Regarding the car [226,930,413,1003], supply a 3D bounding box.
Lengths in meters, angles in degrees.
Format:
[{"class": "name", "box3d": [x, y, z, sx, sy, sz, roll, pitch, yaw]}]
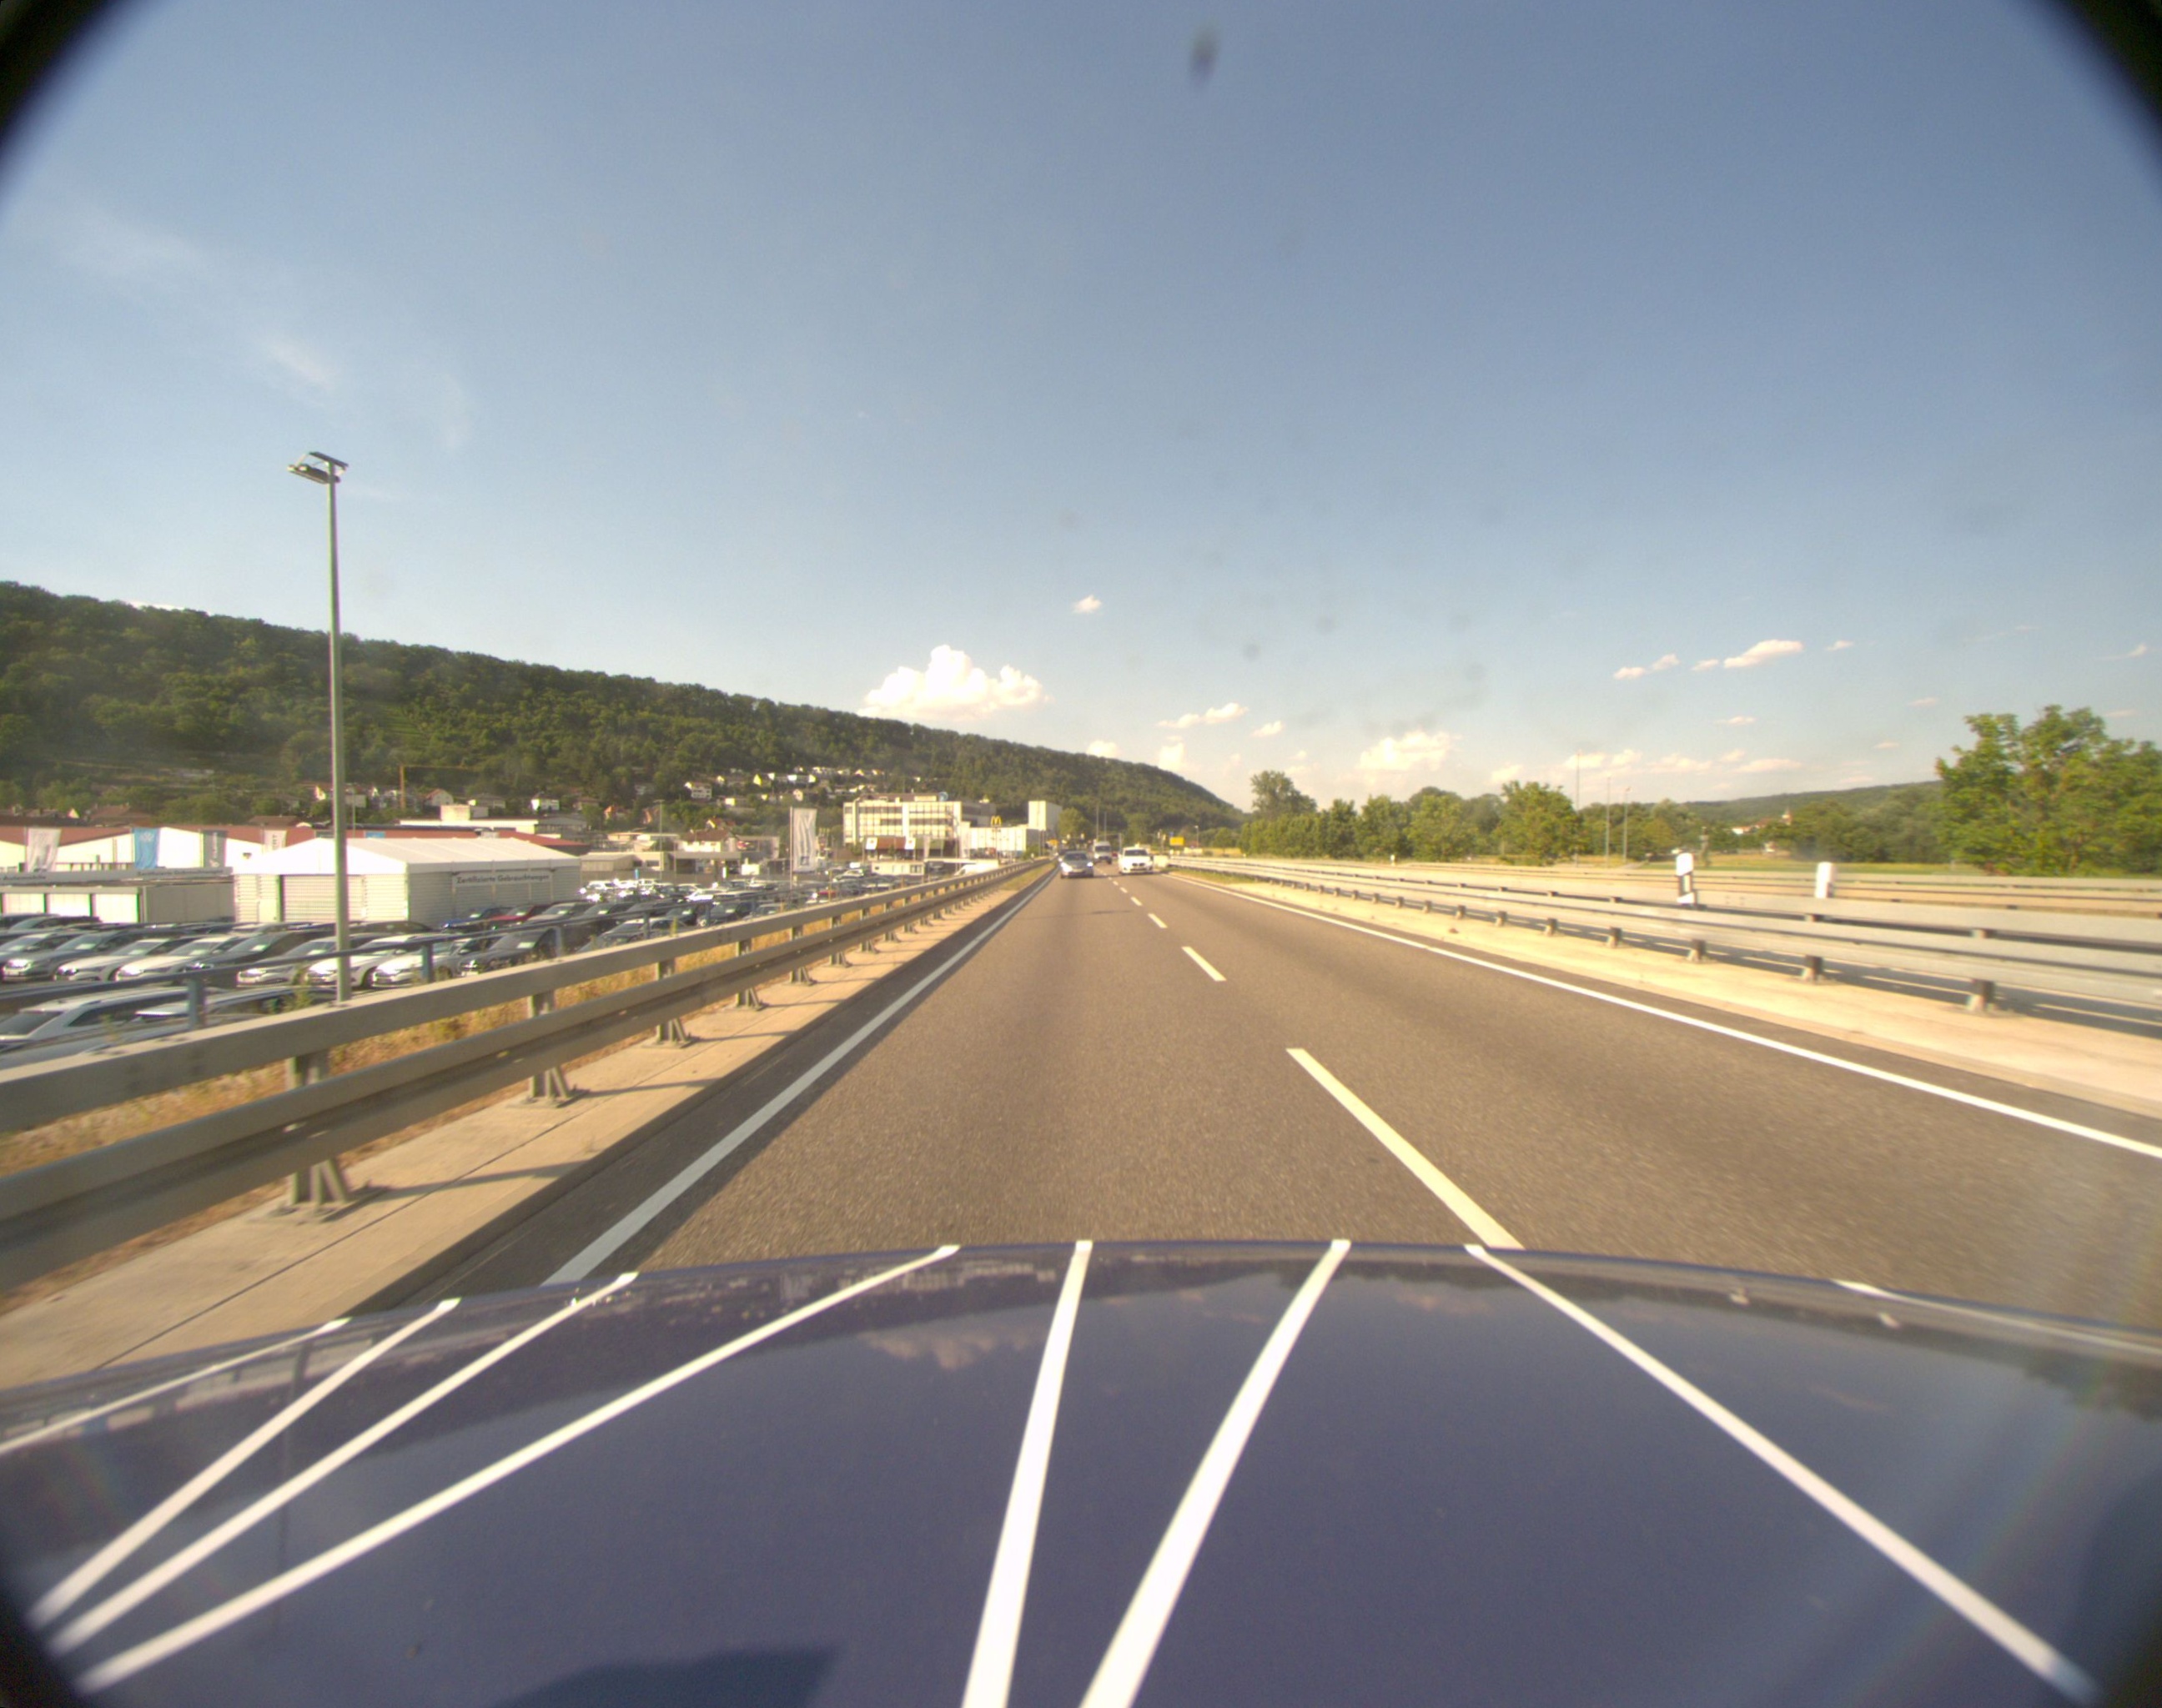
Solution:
[{"class": "car", "box3d": [-24.630, 3.596, 24.806, 1.778, 1.674, 4.001, -2, 1, 7]}]

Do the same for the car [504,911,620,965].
[{"class": "car", "box3d": [-21.817, 3.491, 32.166, 1.778, 1.674, 4.001, -2, 1, 7]}]

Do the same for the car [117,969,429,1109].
[{"class": "car", "box3d": [-15.615, 3.490, 15.072, 1.779, 1.674, 3.999, -2, 1, 1]}]

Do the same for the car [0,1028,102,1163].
[{"class": "car", "box3d": [-15.396, 3.409, 9.205, 1.710, 1.554, 4.000, -2, 1, 2]}]

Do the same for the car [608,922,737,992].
[{"class": "car", "box3d": [-12.426, 3.085, 23.422, 1.710, 1.456, 3.999, -2, 1, 0]}]

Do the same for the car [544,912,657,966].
[{"class": "car", "box3d": [-19.873, 3.489, 31.666, 1.778, 1.674, 4.001, -2, 1, 7]}]

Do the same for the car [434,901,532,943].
[{"class": "car", "box3d": [-32.222, 3.642, 41.096, 1.778, 1.674, 4.001, 4, 2, 6]}]

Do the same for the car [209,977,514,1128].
[{"class": "car", "box3d": [-13.100, 3.530, 14.262, 1.779, 1.674, 3.999, -2, 1, 1]}]

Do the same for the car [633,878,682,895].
[{"class": "car", "box3d": [-45.624, 3.499, 81.963, 4.340, 1.535, 1.801, -2, 2, 8]}]

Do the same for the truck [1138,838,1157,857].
[{"class": "truck", "box3d": [13.616, -1.330, 156.996, 2.940, 3.669, 10.496, 2, 1, 0]}]

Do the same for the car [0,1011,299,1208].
[{"class": "car", "box3d": [-12.766, 3.180, 9.519, 1.710, 1.456, 3.999, -2, 1, 0]}]

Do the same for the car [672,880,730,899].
[{"class": "car", "box3d": [-34.417, 3.216, 68.833, 4.427, 1.535, 1.801, -2, 2, 8]}]

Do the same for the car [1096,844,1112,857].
[{"class": "car", "box3d": [2.535, -0.390, 84.148, 1.690, 1.383, 3.883, -1, 1, 1]}]

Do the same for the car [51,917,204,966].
[{"class": "car", "box3d": [-43.859, 3.968, 35.102, 1.778, 1.674, 4.001, -2, 1, 7]}]

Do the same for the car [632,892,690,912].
[{"class": "car", "box3d": [-35.186, 3.988, 63.743, 3.993, 1.448, 1.782, -2, 2, 12]}]

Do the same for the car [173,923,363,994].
[{"class": "car", "box3d": [-26.974, 3.409, 25.423, 1.779, 1.674, 4.001, -2, 1, 5]}]

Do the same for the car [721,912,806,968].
[{"class": "car", "box3d": [-12.477, 3.352, 30.143, 1.616, 1.669, 3.835, -2, 1, 1]}]

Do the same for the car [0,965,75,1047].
[{"class": "car", "box3d": [-25.519, 3.593, 16.501, 1.779, 1.674, 4.000, -2, 1, 5]}]

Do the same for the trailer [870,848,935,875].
[{"class": "trailer", "box3d": [-24.743, 1.015, 105.556, 7.897, 3.304, 3.359, -2, 2, 4]}]

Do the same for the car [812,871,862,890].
[{"class": "car", "box3d": [-24.795, 2.707, 77.414, 4.427, 1.704, 1.801, -2, 2, 8]}]

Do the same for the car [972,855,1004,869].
[{"class": "car", "box3d": [-12.710, 1.101, 104.155, 3.996, 1.740, 1.901, -2, 2, 2]}]

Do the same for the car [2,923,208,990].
[{"class": "car", "box3d": [-33.903, 3.491, 26.596, 1.779, 1.674, 4.000, -2, 1, 5]}]

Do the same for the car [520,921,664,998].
[{"class": "car", "box3d": [-14.996, 3.182, 23.594, 1.779, 1.674, 3.999, -2, 1, 1]}]

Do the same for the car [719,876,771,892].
[{"class": "car", "box3d": [-33.799, 3.044, 76.448, 4.427, 1.361, 1.801, -2, 1, 8]}]

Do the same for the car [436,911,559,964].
[{"class": "car", "box3d": [-24.609, 3.494, 32.243, 1.778, 1.674, 4.001, -2, 1, 7]}]

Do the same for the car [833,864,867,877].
[{"class": "car", "box3d": [-32.023, 2.285, 105.357, 3.996, 1.648, 1.805, 0, 2, 3]}]

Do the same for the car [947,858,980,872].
[{"class": "car", "box3d": [-17.061, 1.599, 110.029, 4.332, 1.740, 2.131, -2, 1, 2]}]

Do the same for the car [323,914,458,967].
[{"class": "car", "box3d": [-29.424, 3.651, 32.558, 1.778, 1.674, 4.001, -2, 1, 7]}]

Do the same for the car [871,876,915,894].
[{"class": "car", "box3d": [-19.314, 3.178, 78.232, 3.982, 1.535, 1.787, -2, 1, 4]}]

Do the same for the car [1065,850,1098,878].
[{"class": "car", "box3d": [0.045, 0.498, 41.261, 1.690, 1.383, 3.883, -1, 1, 1]}]

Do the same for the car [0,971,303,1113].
[{"class": "car", "box3d": [-18.311, 3.513, 14.885, 1.779, 1.674, 4.000, -2, 1, 4]}]

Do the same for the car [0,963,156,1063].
[{"class": "car", "box3d": [-23.270, 3.516, 16.280, 1.779, 1.674, 4.000, -2, 1, 5]}]

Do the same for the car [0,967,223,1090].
[{"class": "car", "box3d": [-20.508, 3.470, 15.256, 1.779, 1.674, 4.000, -2, 1, 5]}]
